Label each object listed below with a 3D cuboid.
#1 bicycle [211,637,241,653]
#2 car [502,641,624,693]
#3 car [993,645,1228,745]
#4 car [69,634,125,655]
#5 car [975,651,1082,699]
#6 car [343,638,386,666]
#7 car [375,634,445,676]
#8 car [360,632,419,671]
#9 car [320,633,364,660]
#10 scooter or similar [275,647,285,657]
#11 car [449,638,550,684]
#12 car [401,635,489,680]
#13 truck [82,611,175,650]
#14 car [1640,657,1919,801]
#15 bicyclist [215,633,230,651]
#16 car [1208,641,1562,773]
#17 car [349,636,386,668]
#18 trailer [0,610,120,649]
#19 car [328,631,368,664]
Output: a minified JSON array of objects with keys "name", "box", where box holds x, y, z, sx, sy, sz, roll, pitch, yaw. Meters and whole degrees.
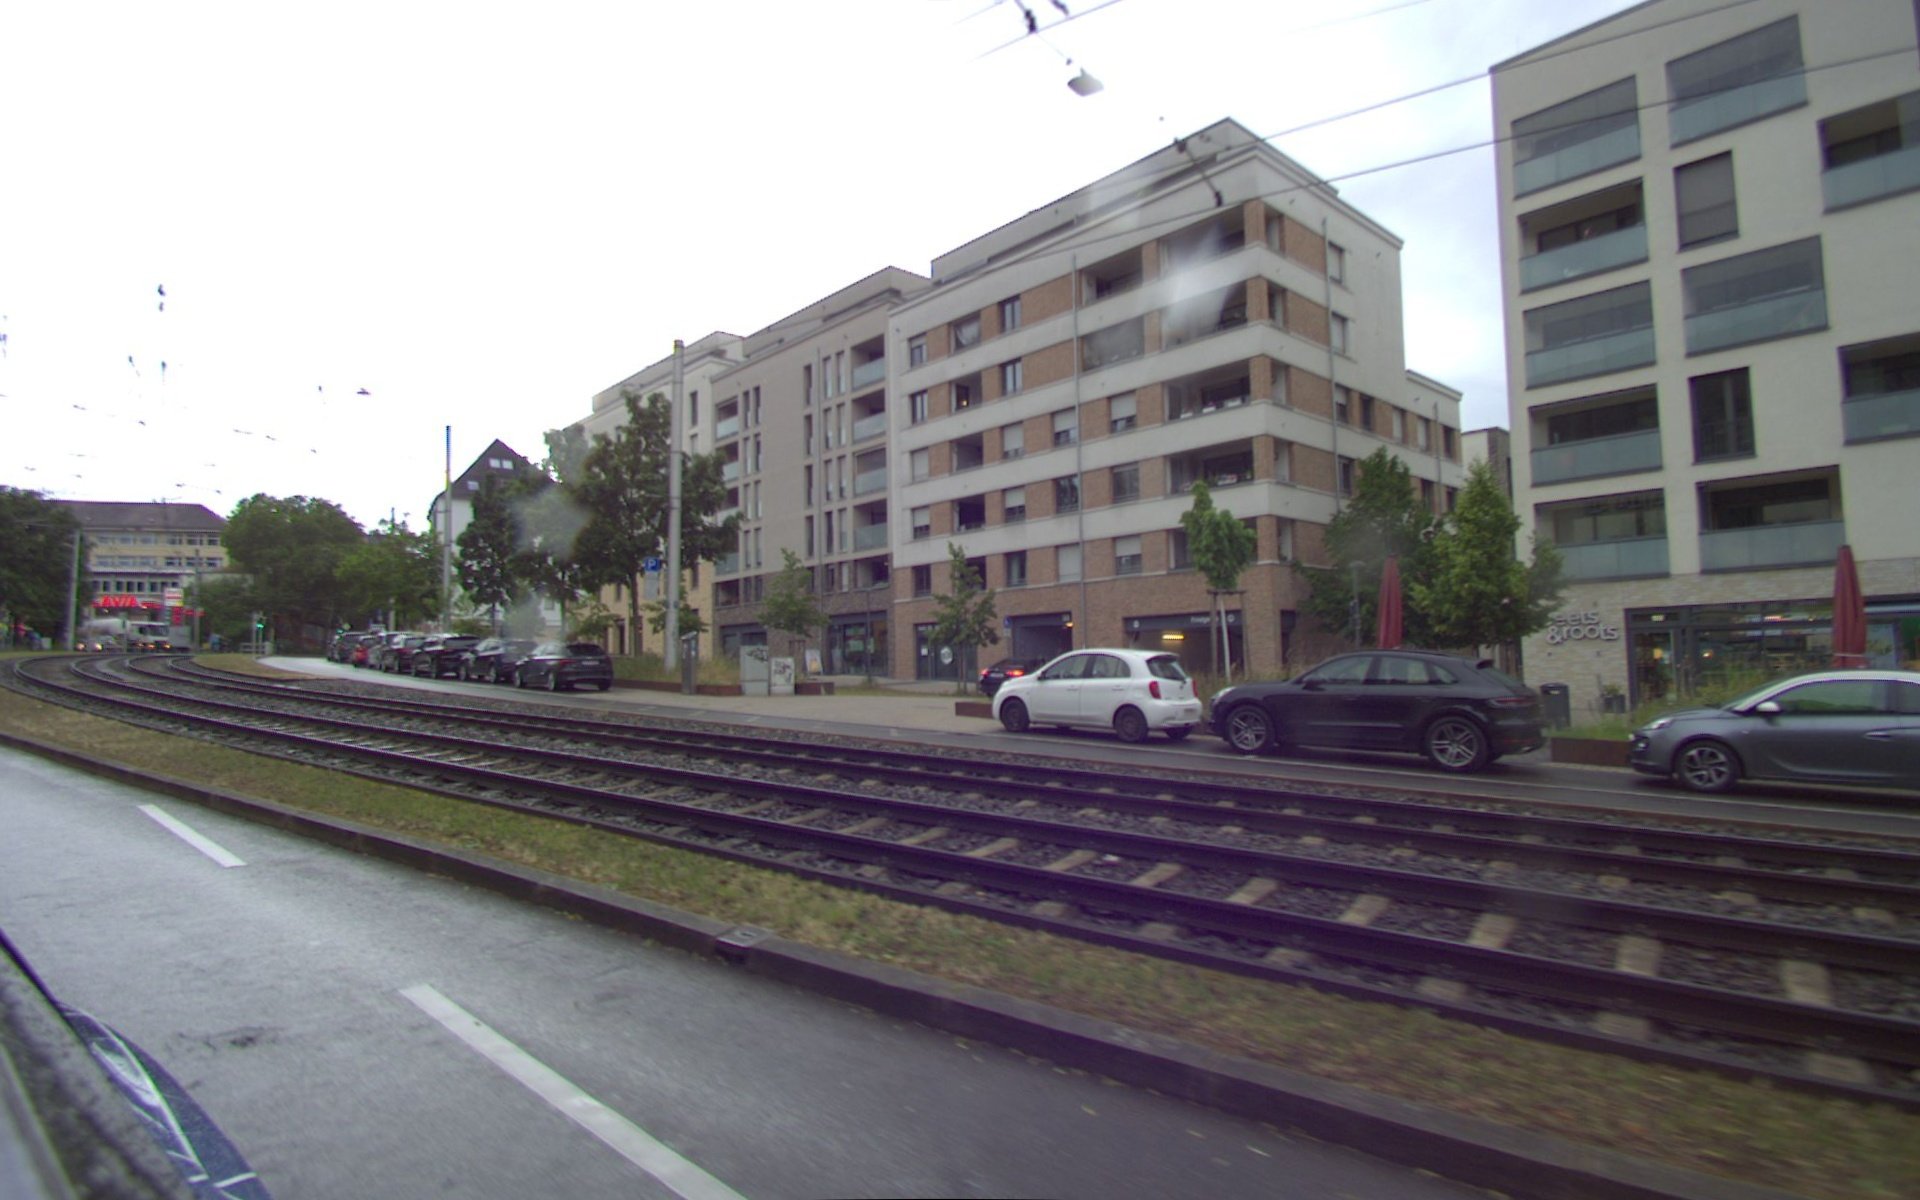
[{"name":"bicycle","box":[-53.948,3.308,74.357,1.685,1.149,0.627,3,-4,-41]},{"name":"car","box":[-12.083,1.964,30.695,1.943,1.442,4.202,2,-3,-45]},{"name":"car","box":[2.540,1.571,17.596,3.735,1.490,1.746,-2,-4,44]},{"name":"car","box":[-67.241,3.470,78.911,1.859,1.502,3.860,2,-3,-16]},{"name":"car","box":[2.318,2.465,33.158,1.759,1.446,3.953,-1,-4,34]},{"name":"car","box":[-32.327,2.789,54.935,1.530,1.458,4.409,1,-2,-37]},{"name":"car","box":[-23.342,2.295,42.872,1.710,1.657,4.539,2,-3,-40]},{"name":"car","box":[-26.786,2.388,47.482,1.642,1.761,4.264,3,-3,-39]},{"name":"car","box":[-38.457,2.882,62.910,1.967,1.617,4.224,1,-3,-36]},{"name":"scooter or similar","box":[-88.070,6.693,131.071,0.394,1.202,1.365,1,-1,-6]},{"name":"car","box":[-16.083,2.084,35.260,4.258,1.500,1.717,-2,-3,43]},{"name":"car","box":[-19.655,2.129,38.531,1.781,1.596,4.704,2,-3,-42]},{"name":"truck","box":[-77.858,2.868,94.941,6.019,3.426,2.846,2,-4,-23]},{"name":"car","box":[9.884,1.408,11.545,3.445,1.446,1.534,-1,-4,37]},{"name":"bicyclist","box":[-54.116,3.090,74.253,0.788,1.304,0.595,3,-1,-42]},{"name":"car","box":[5.982,1.418,14.517,4.398,1.573,1.749,-1,-4,37]},{"name":"car","box":[-29.921,2.603,51.097,1.449,1.543,2.939,2,-3,-33]},{"name":"trailer","box":[-83.486,2.704,92.574,9.665,3.422,2.823,2,-3,-24]},{"name":"car","box":[-35.708,2.746,58.974,1.560,1.873,4.342,0,-2,-37]}]
